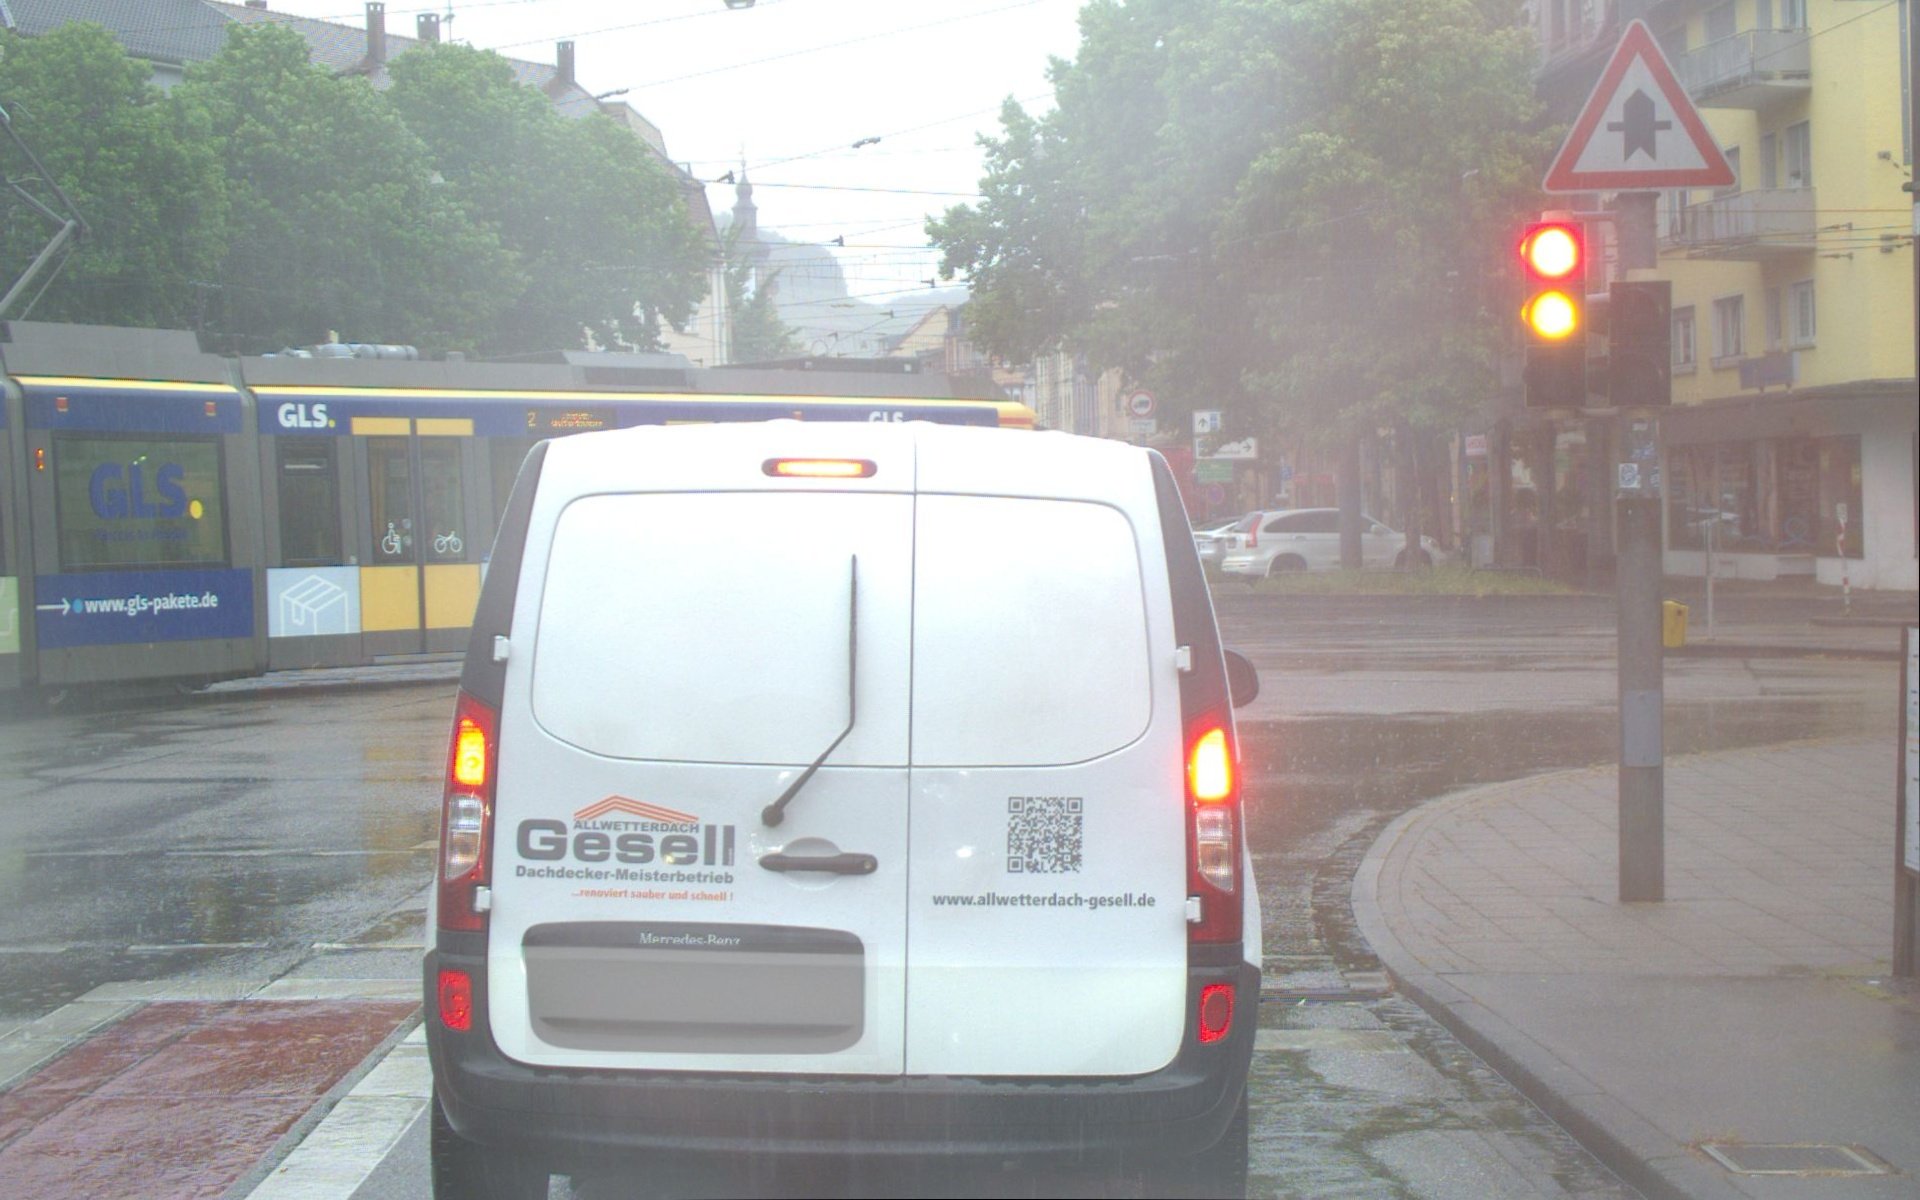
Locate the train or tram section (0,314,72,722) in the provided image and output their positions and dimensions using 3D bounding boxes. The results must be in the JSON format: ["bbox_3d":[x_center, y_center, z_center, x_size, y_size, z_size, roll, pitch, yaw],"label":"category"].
[{"bbox_3d":[-11.725,-0.690,24.585,3.516,3.500,13.647,1,1,18],"label":"train or tram section"}]

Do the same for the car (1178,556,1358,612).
[{"bbox_3d":[6.316,-0.338,70.652,3.441,1.126,1.472,0,1,-8],"label":"car"}]

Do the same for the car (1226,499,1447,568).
[{"bbox_3d":[7.528,-1.344,68.915,4.165,1.334,1.521,-1,2,-7],"label":"car"}]

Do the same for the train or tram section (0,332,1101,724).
[{"bbox_3d":[-4.656,-0.662,36.893,3.549,3.401,15.468,2,1,40],"label":"train or tram section"}]

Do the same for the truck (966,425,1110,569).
[{"bbox_3d":[2.799,-3.770,129.761,3.469,5.070,15.310,0,1,-6],"label":"truck"}]

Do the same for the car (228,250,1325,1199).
[{"bbox_3d":[-0.379,0.310,9.103,2.100,2.005,4.963,0,1,-1],"label":"car"}]
